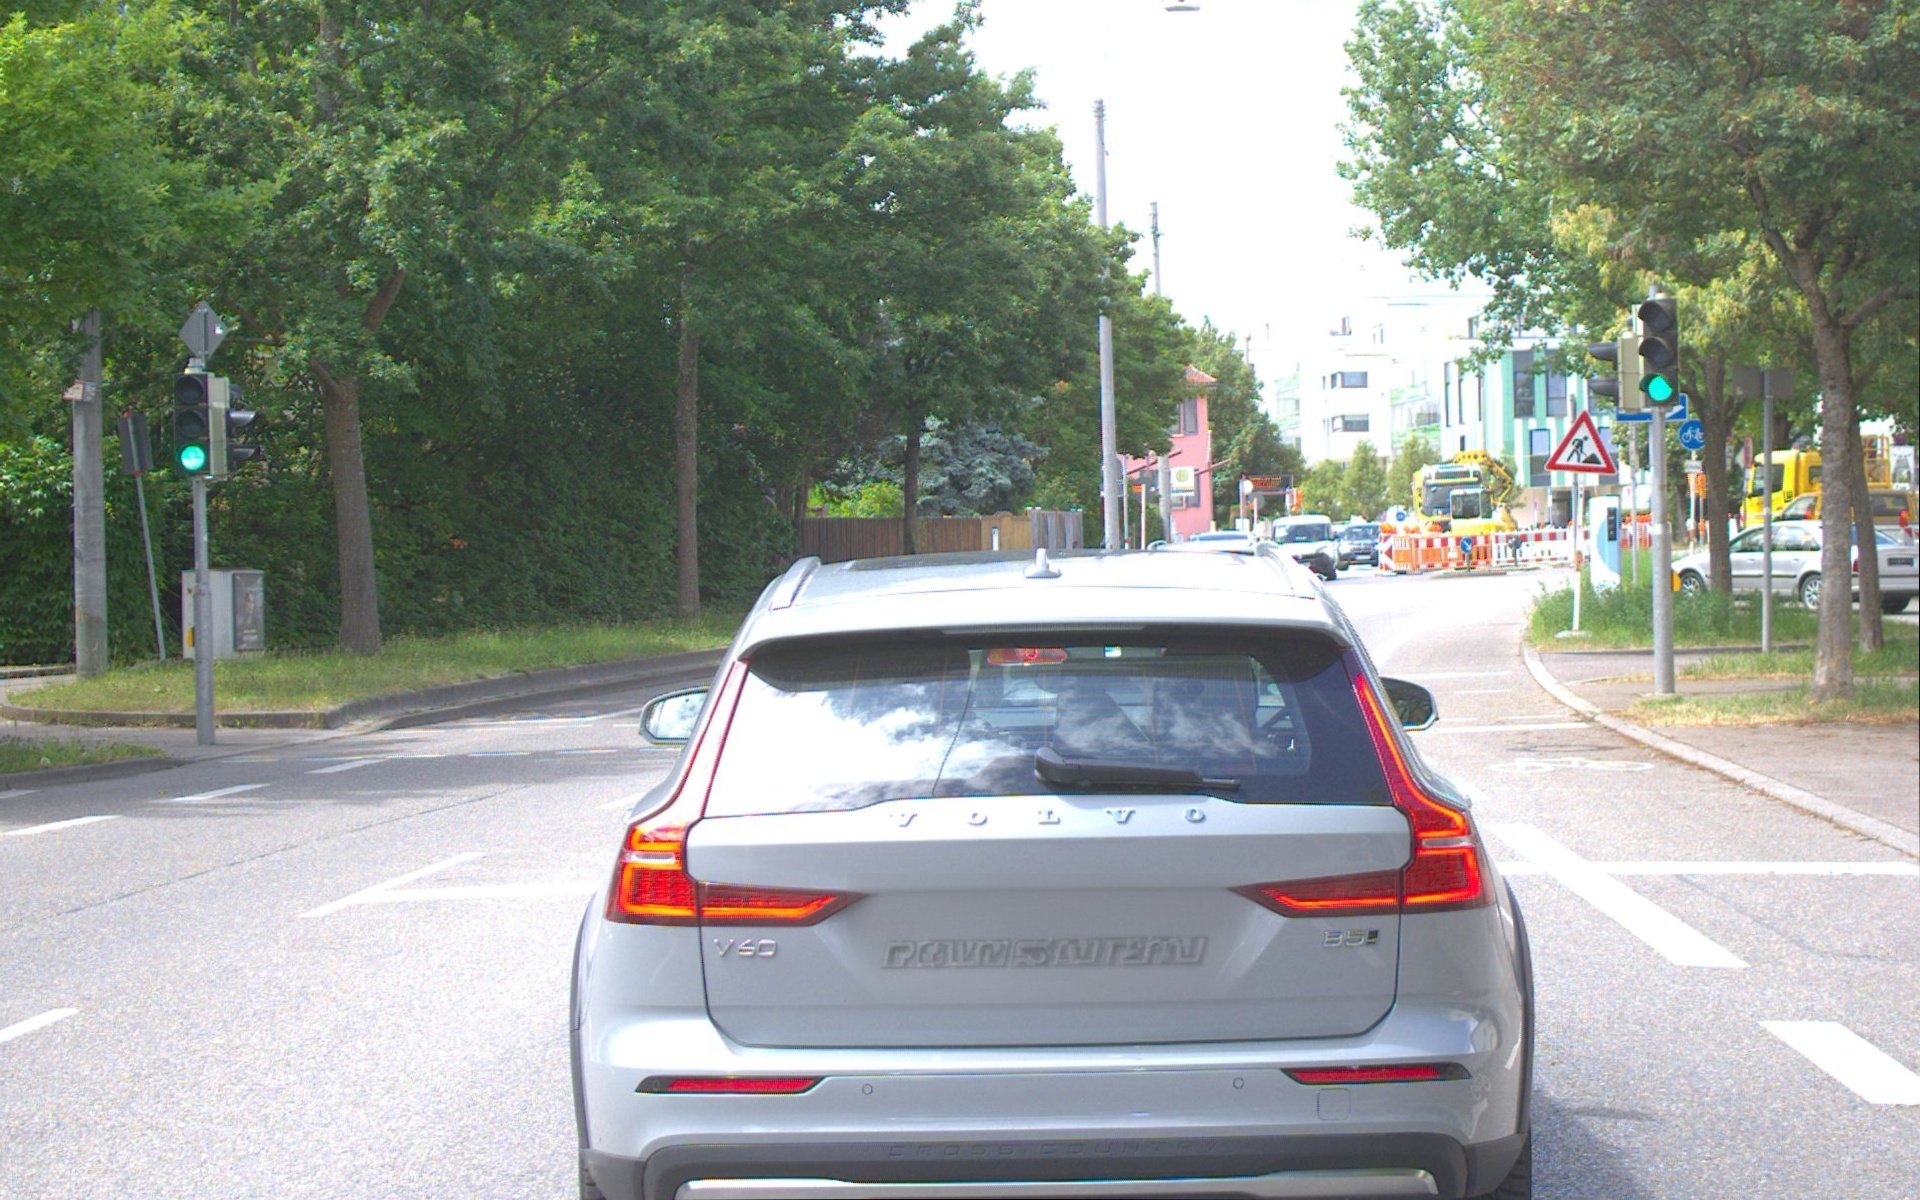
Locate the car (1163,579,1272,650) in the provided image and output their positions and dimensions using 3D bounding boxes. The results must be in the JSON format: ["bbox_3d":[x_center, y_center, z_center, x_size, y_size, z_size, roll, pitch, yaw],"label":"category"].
[{"bbox_3d":[5.174,0.308,68.676,1.829,1.325,3.998,1,-1,9],"label":"car"}]

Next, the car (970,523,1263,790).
[{"bbox_3d":[0.981,0.317,21.807,1.661,1.503,3.702,1,0,2],"label":"car"}]

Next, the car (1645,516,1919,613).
[{"bbox_3d":[13.093,-0.588,54.199,1.762,1.447,4.689,-1,2,-32],"label":"car"}]

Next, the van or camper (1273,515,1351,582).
[{"bbox_3d":[9.782,-1.438,95.294,1.861,1.770,4.379,-1,1,10],"label":"van or camper"}]

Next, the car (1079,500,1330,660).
[{"bbox_3d":[2.560,-0.202,35.123,2.103,1.505,3.998,1,0,10],"label":"car"}]

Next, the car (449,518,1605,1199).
[{"bbox_3d":[0.166,0.598,7.782,1.928,1.535,4.000,-1,1,2],"label":"car"}]

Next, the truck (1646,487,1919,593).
[{"bbox_3d":[16.524,-1.187,68.771,1.994,2.007,5.677,1,0,-35],"label":"truck"}]

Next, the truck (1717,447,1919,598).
[{"bbox_3d":[19.011,-1.552,70.500,2.761,2.998,6.706,1,0,-34],"label":"truck"}]

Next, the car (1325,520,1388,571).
[{"bbox_3d":[14.112,-1.910,122.167,1.994,1.731,3.998,1,0,9],"label":"car"}]

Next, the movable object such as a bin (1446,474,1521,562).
[{"bbox_3d":[16.628,-2.603,109.104,2.035,2.634,5.937,-2,1,11],"label":"movable object such as a bin"}]

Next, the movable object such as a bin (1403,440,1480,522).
[{"bbox_3d":[18.514,-4.552,132.379,2.310,2.980,6.426,-2,1,3],"label":"movable object such as a bin"}]
